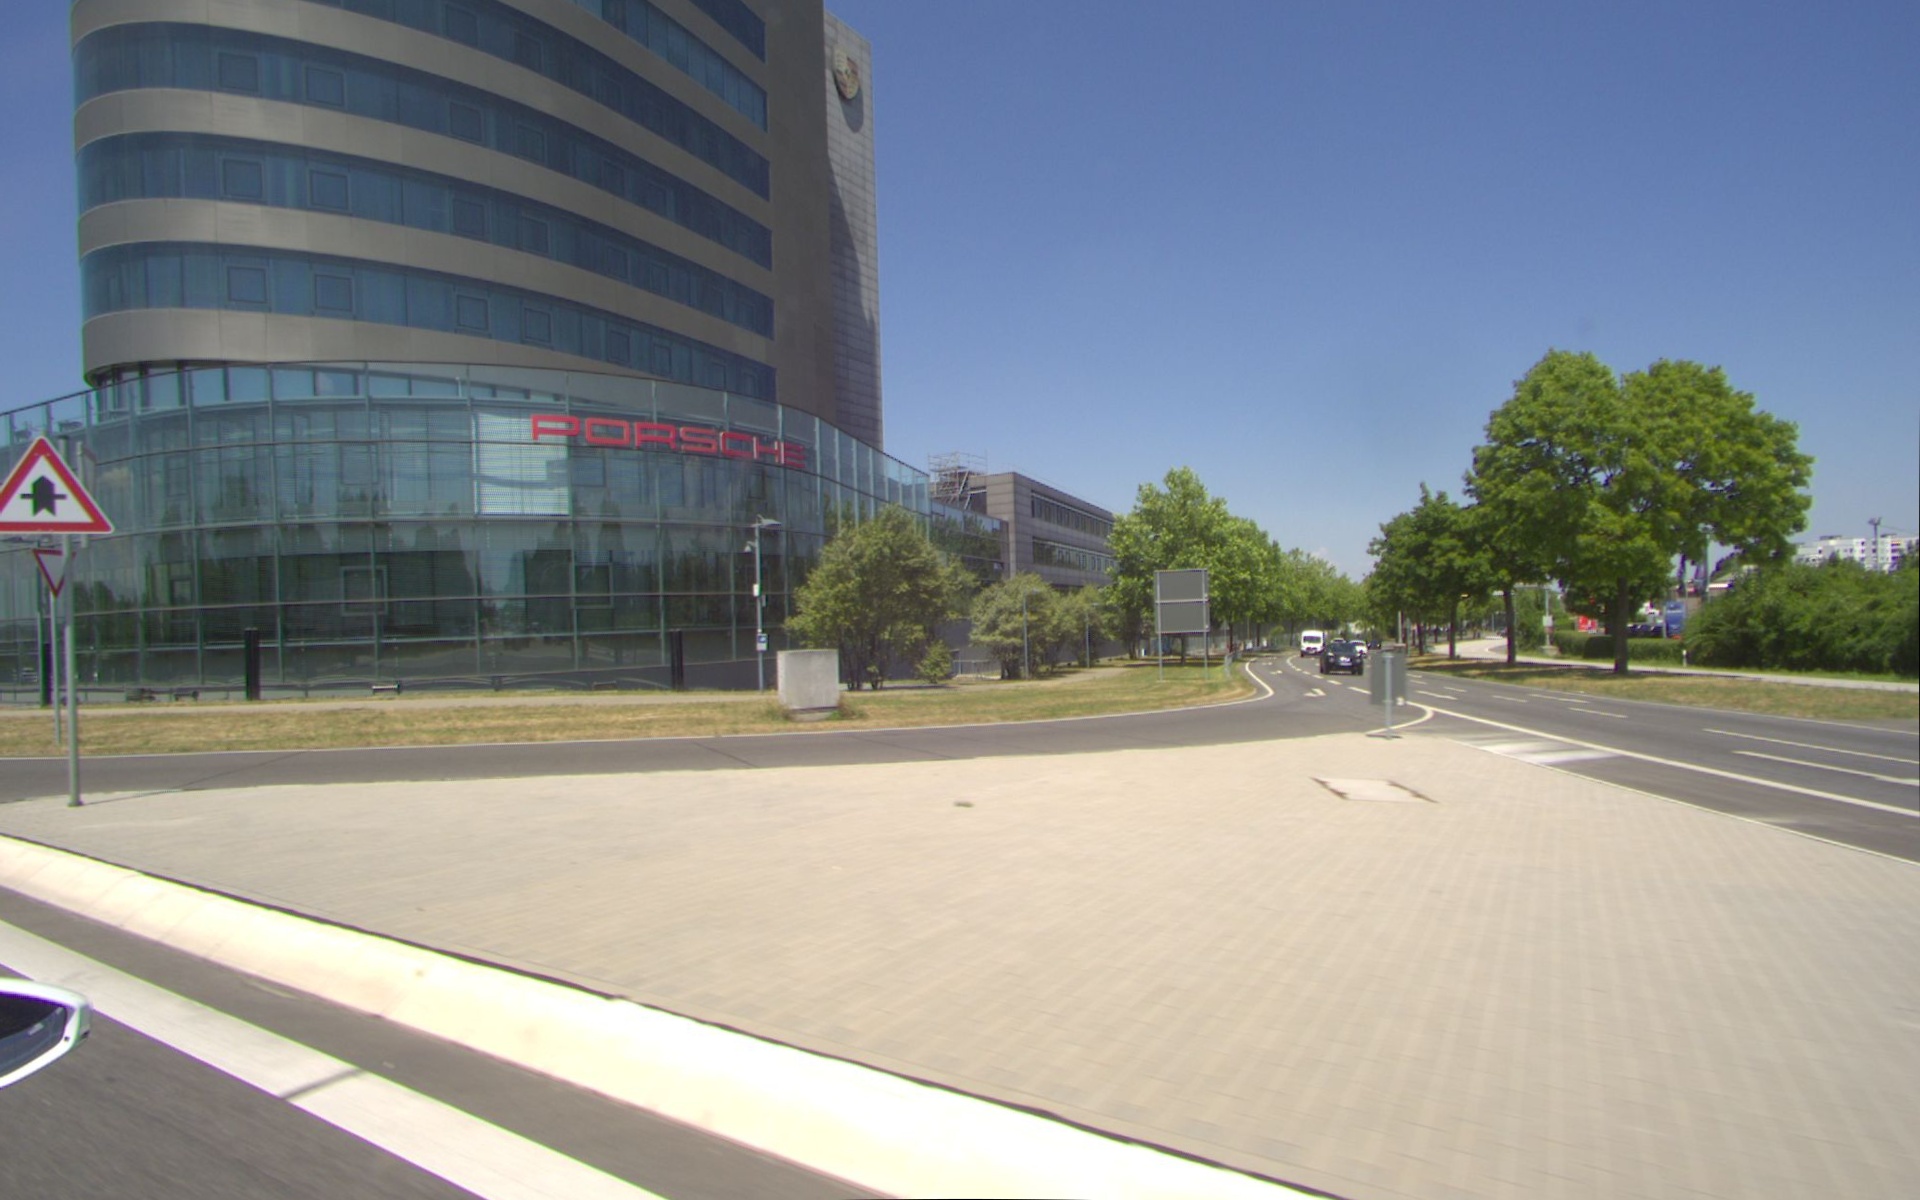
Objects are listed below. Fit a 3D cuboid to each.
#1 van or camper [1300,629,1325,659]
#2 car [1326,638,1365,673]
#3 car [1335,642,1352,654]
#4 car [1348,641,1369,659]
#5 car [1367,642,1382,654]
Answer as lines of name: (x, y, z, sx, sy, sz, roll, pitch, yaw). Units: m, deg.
van or camper: (32.566, 4.031, 92.574, 1.966, 2.716, 3.992, -1, -2, 22)
car: (18.806, 2.694, 48.992, 1.638, 1.609, 3.994, -1, -2, 20)
car: (53.244, 6.686, 138.989, 1.710, 1.683, 3.987, -1, -3, 27)
car: (38.774, 4.862, 97.371, 1.709, 1.683, 3.990, -1, -3, 24)
car: (60.390, 6.966, 145.721, 1.710, 1.683, 3.987, -1, -3, 27)
